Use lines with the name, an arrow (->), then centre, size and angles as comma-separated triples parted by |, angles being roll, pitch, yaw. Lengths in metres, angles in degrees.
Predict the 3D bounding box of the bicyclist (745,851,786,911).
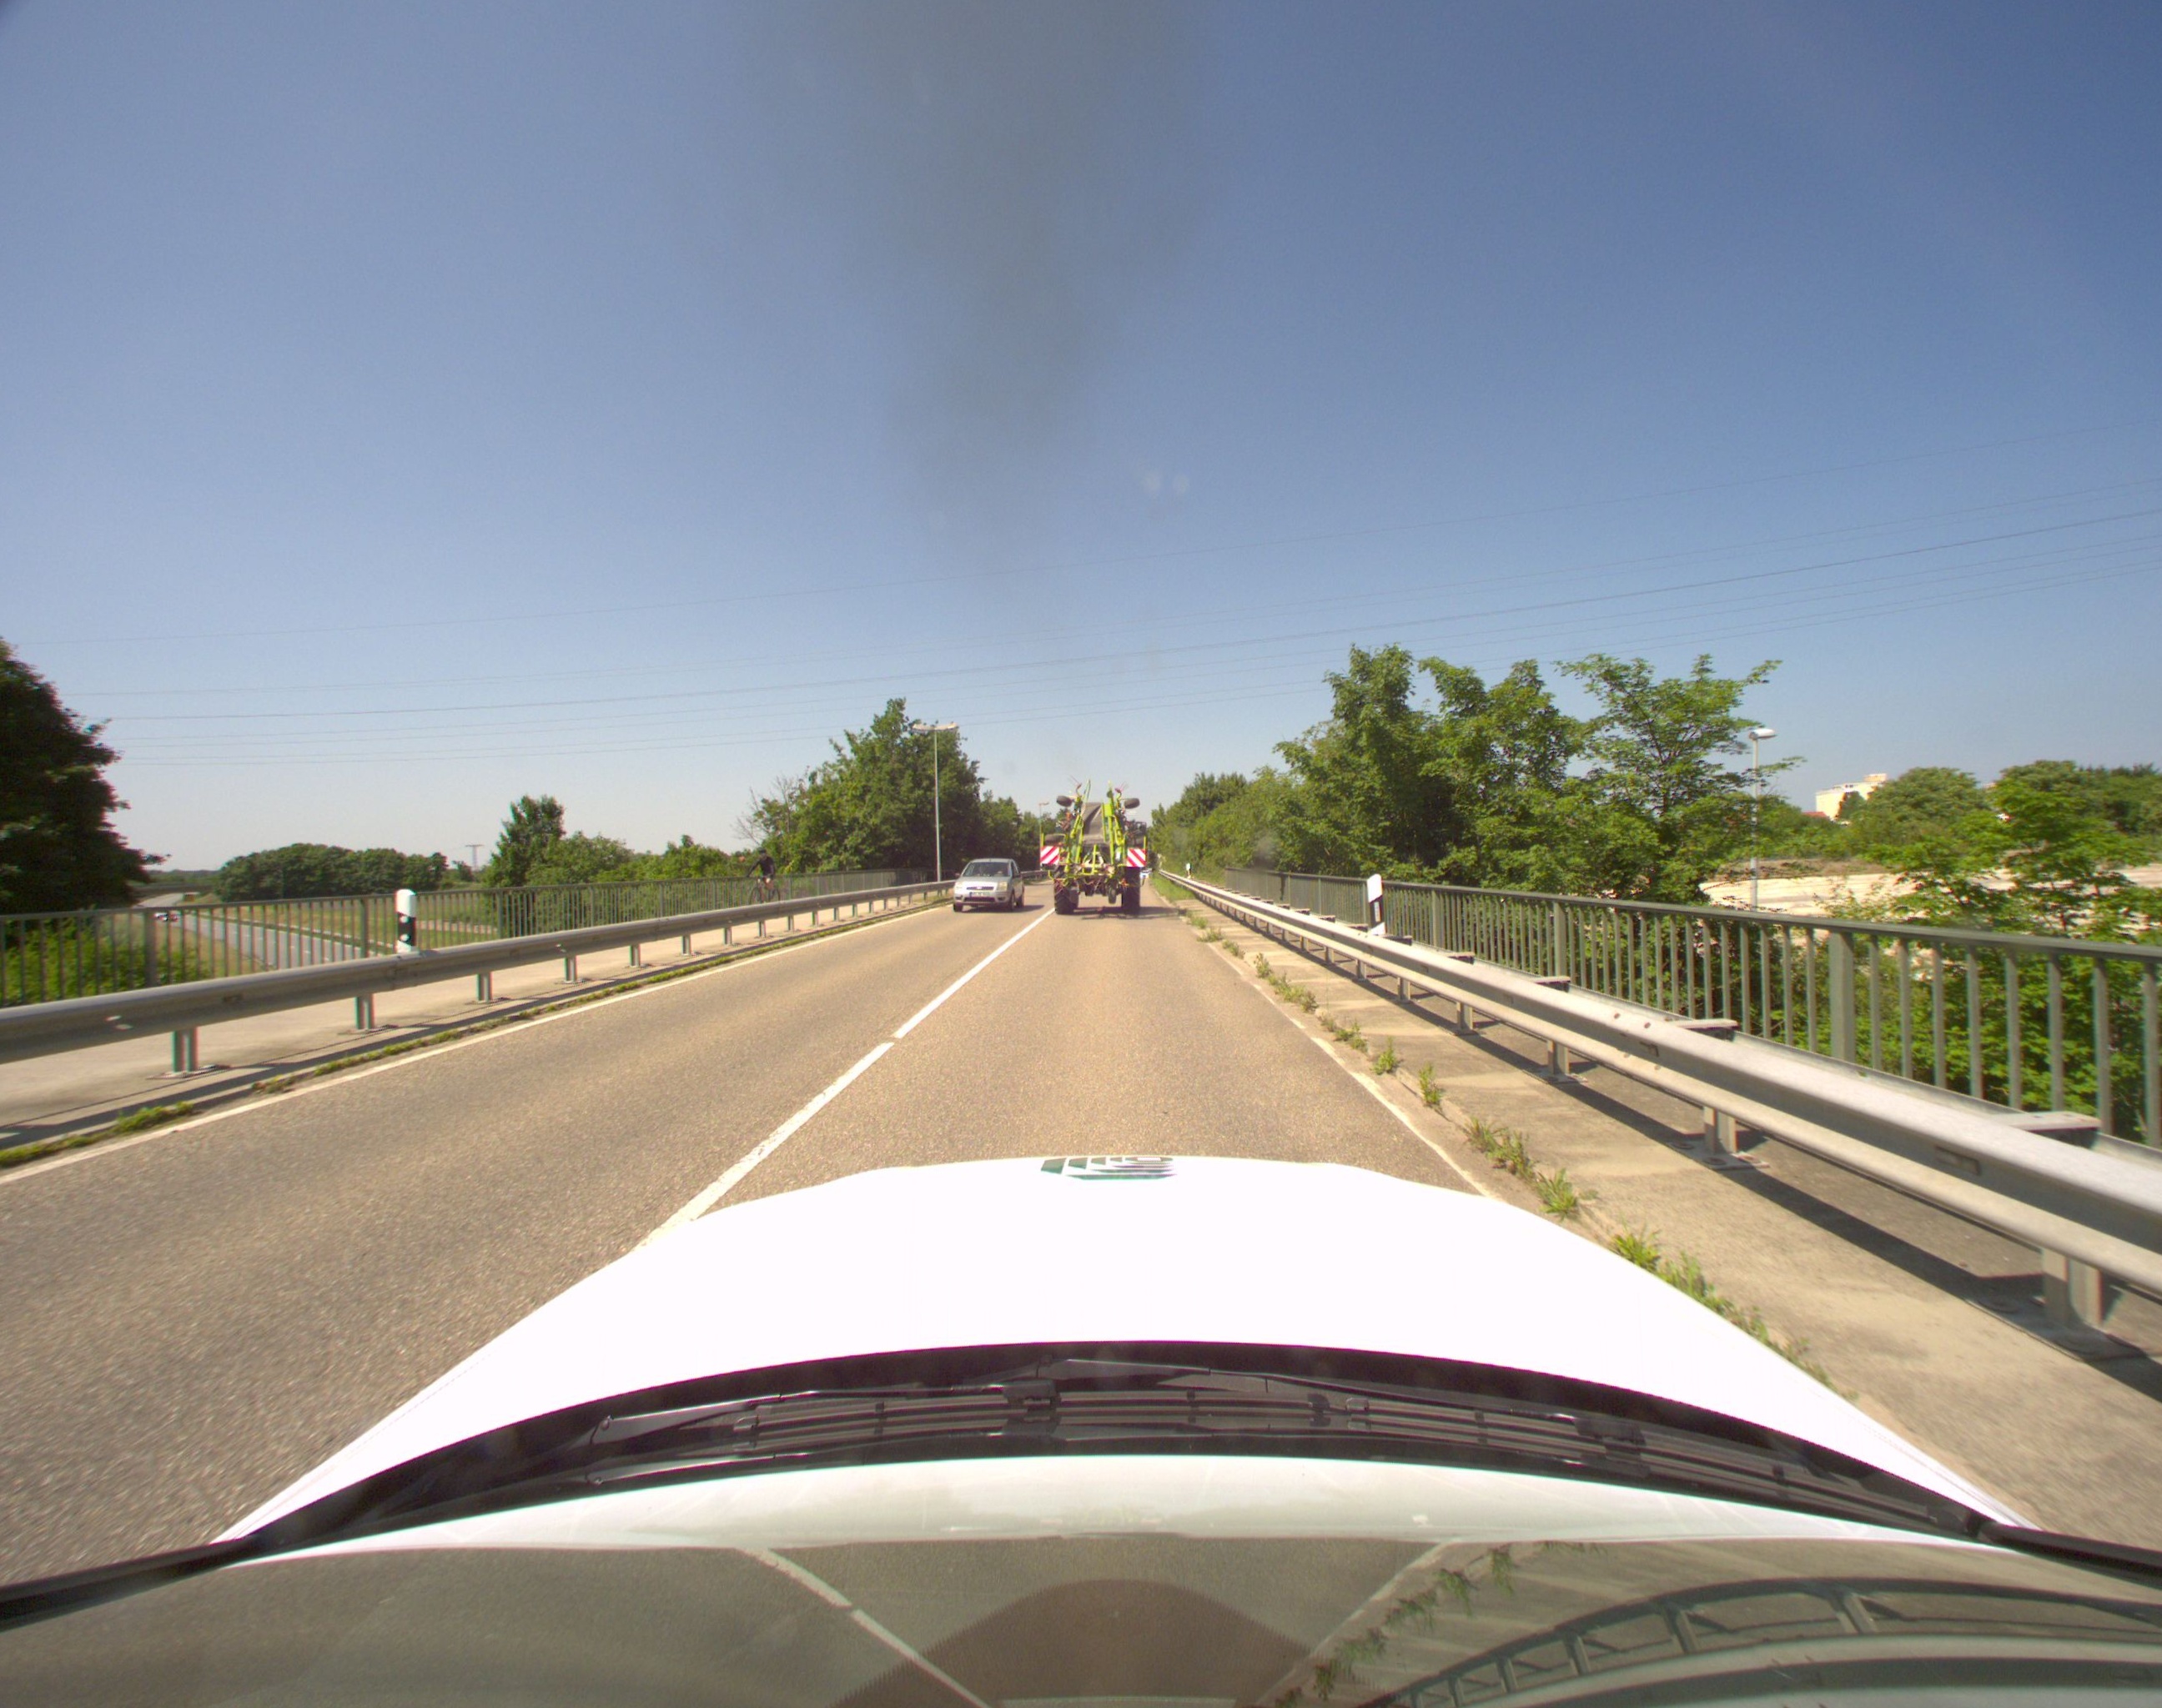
bicyclist -> -8.889, 0.744, 22.958 | 0.763, 1.633, 0.895 | -1, 0, -1

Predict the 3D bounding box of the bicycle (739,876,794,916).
bicycle -> -8.832, 1.155, 22.952 | 0.675, 1.001, 2.118 | -2, 0, 0

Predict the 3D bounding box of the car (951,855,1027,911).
car -> -2.655, 0.817, 24.286 | 1.661, 1.517, 3.668 | -1, -1, 2

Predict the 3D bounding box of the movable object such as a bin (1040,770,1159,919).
movable object such as a bin -> 0.457, -0.229, 21.881 | 2.746, 3.444, 5.670 | -1, 0, 0
